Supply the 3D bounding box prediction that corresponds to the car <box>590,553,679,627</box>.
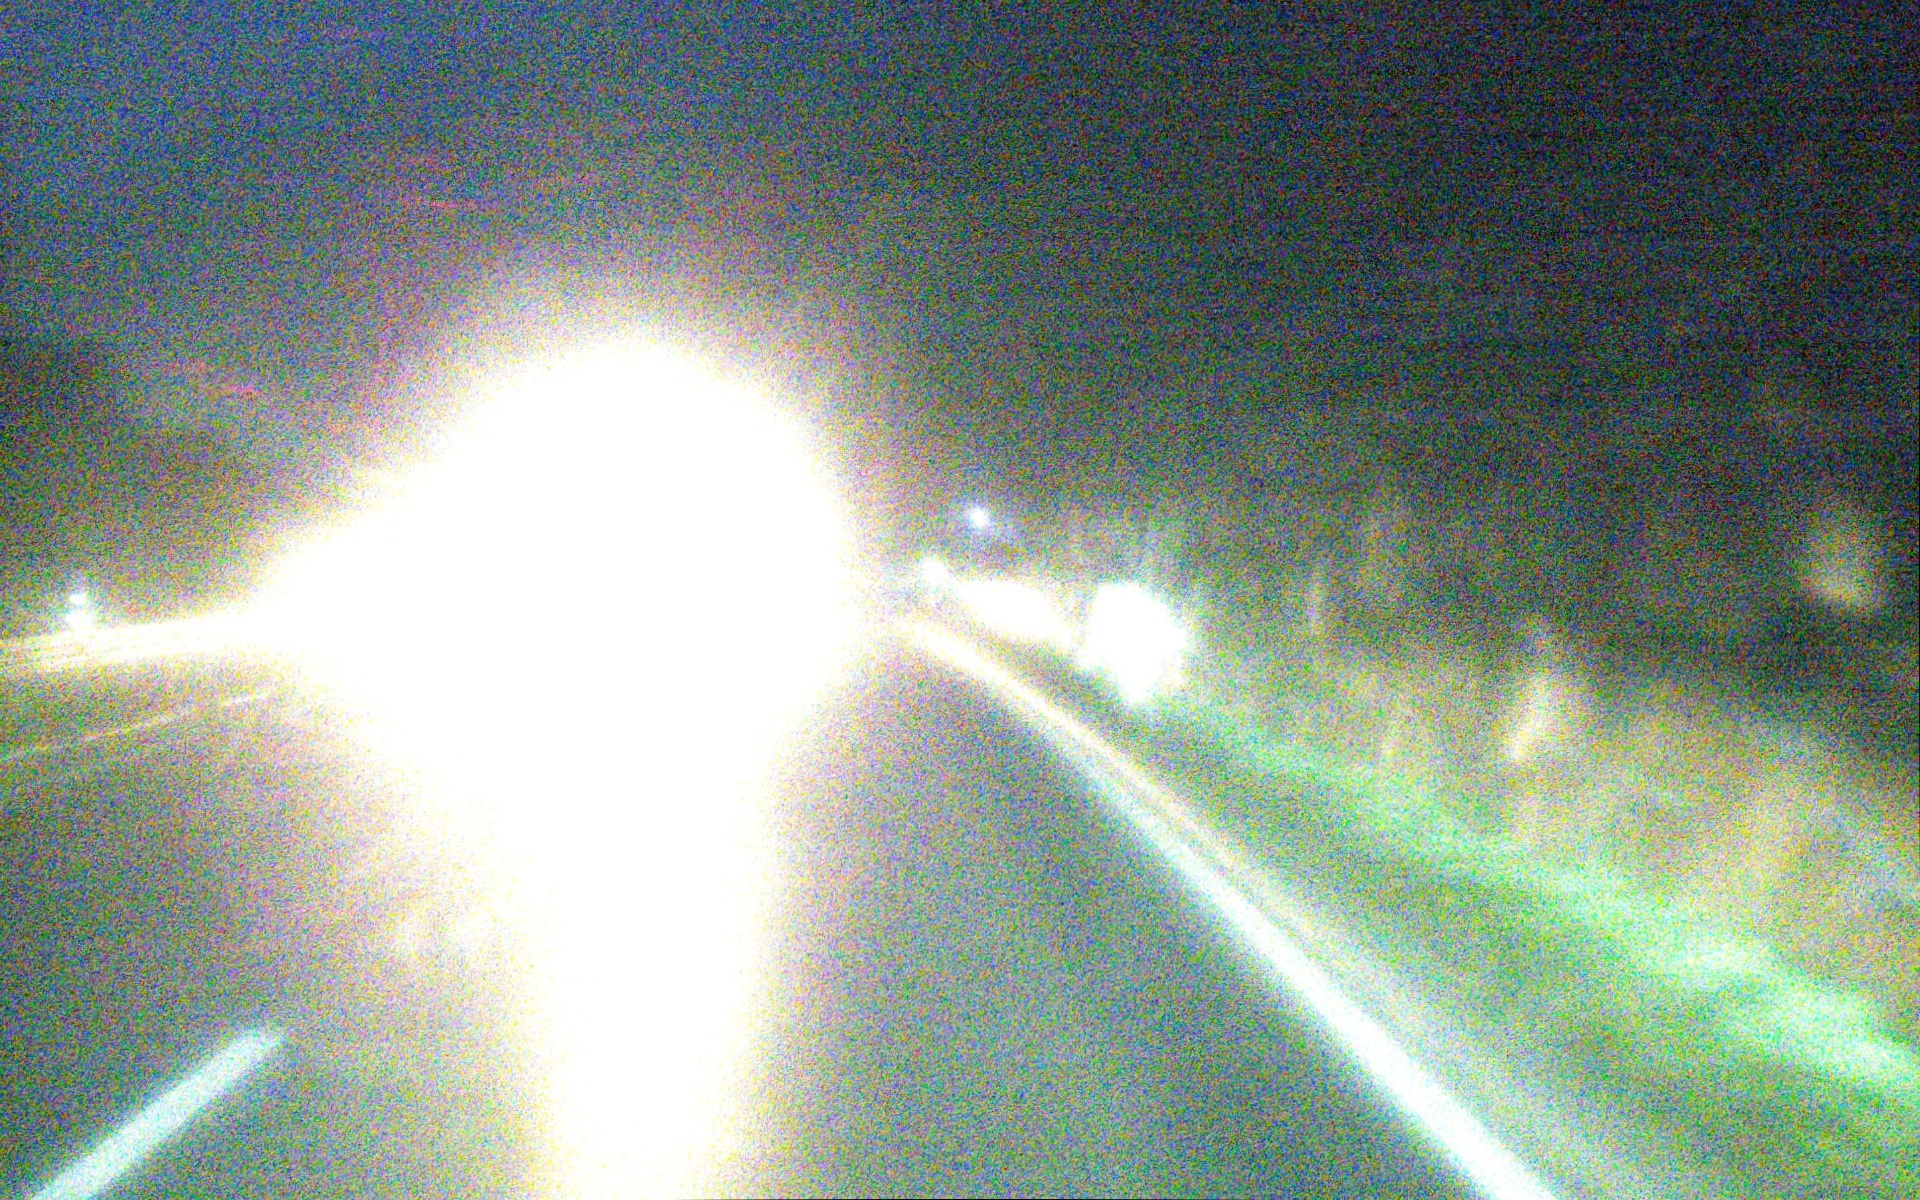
[{"bbox_3d":[-7.422,-0.246,78.652,1.920,1.640,4.026,0,1,-4],"label":"car"}]
